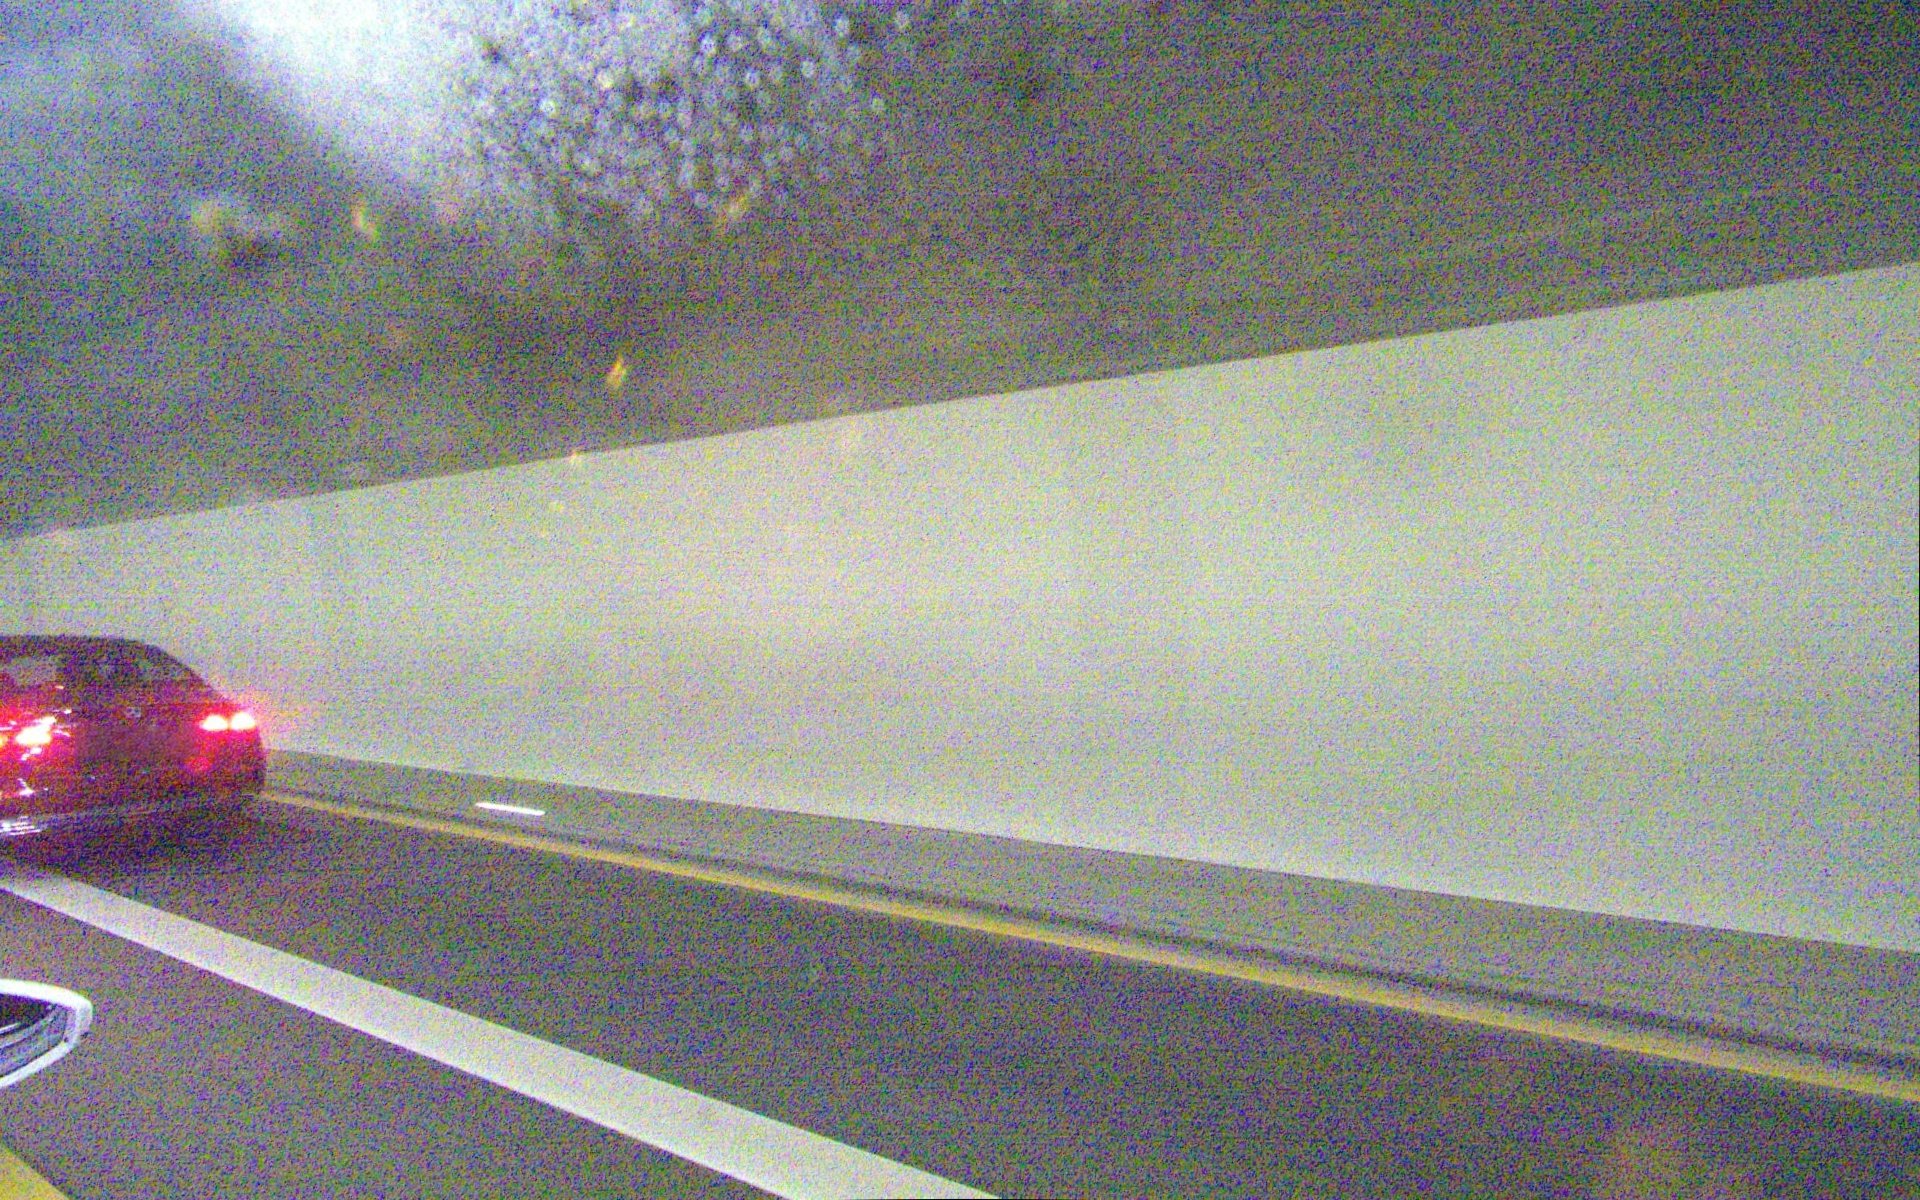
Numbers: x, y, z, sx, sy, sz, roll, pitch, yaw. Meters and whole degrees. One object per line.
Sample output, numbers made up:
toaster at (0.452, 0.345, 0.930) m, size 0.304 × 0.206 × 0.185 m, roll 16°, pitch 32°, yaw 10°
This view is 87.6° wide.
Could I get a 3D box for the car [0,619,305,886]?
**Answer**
car at (-7.122, 0.954, 7.449) m, size 4.885 × 1.490 × 1.923 m, roll -2°, pitch -4°, yaw 33°
